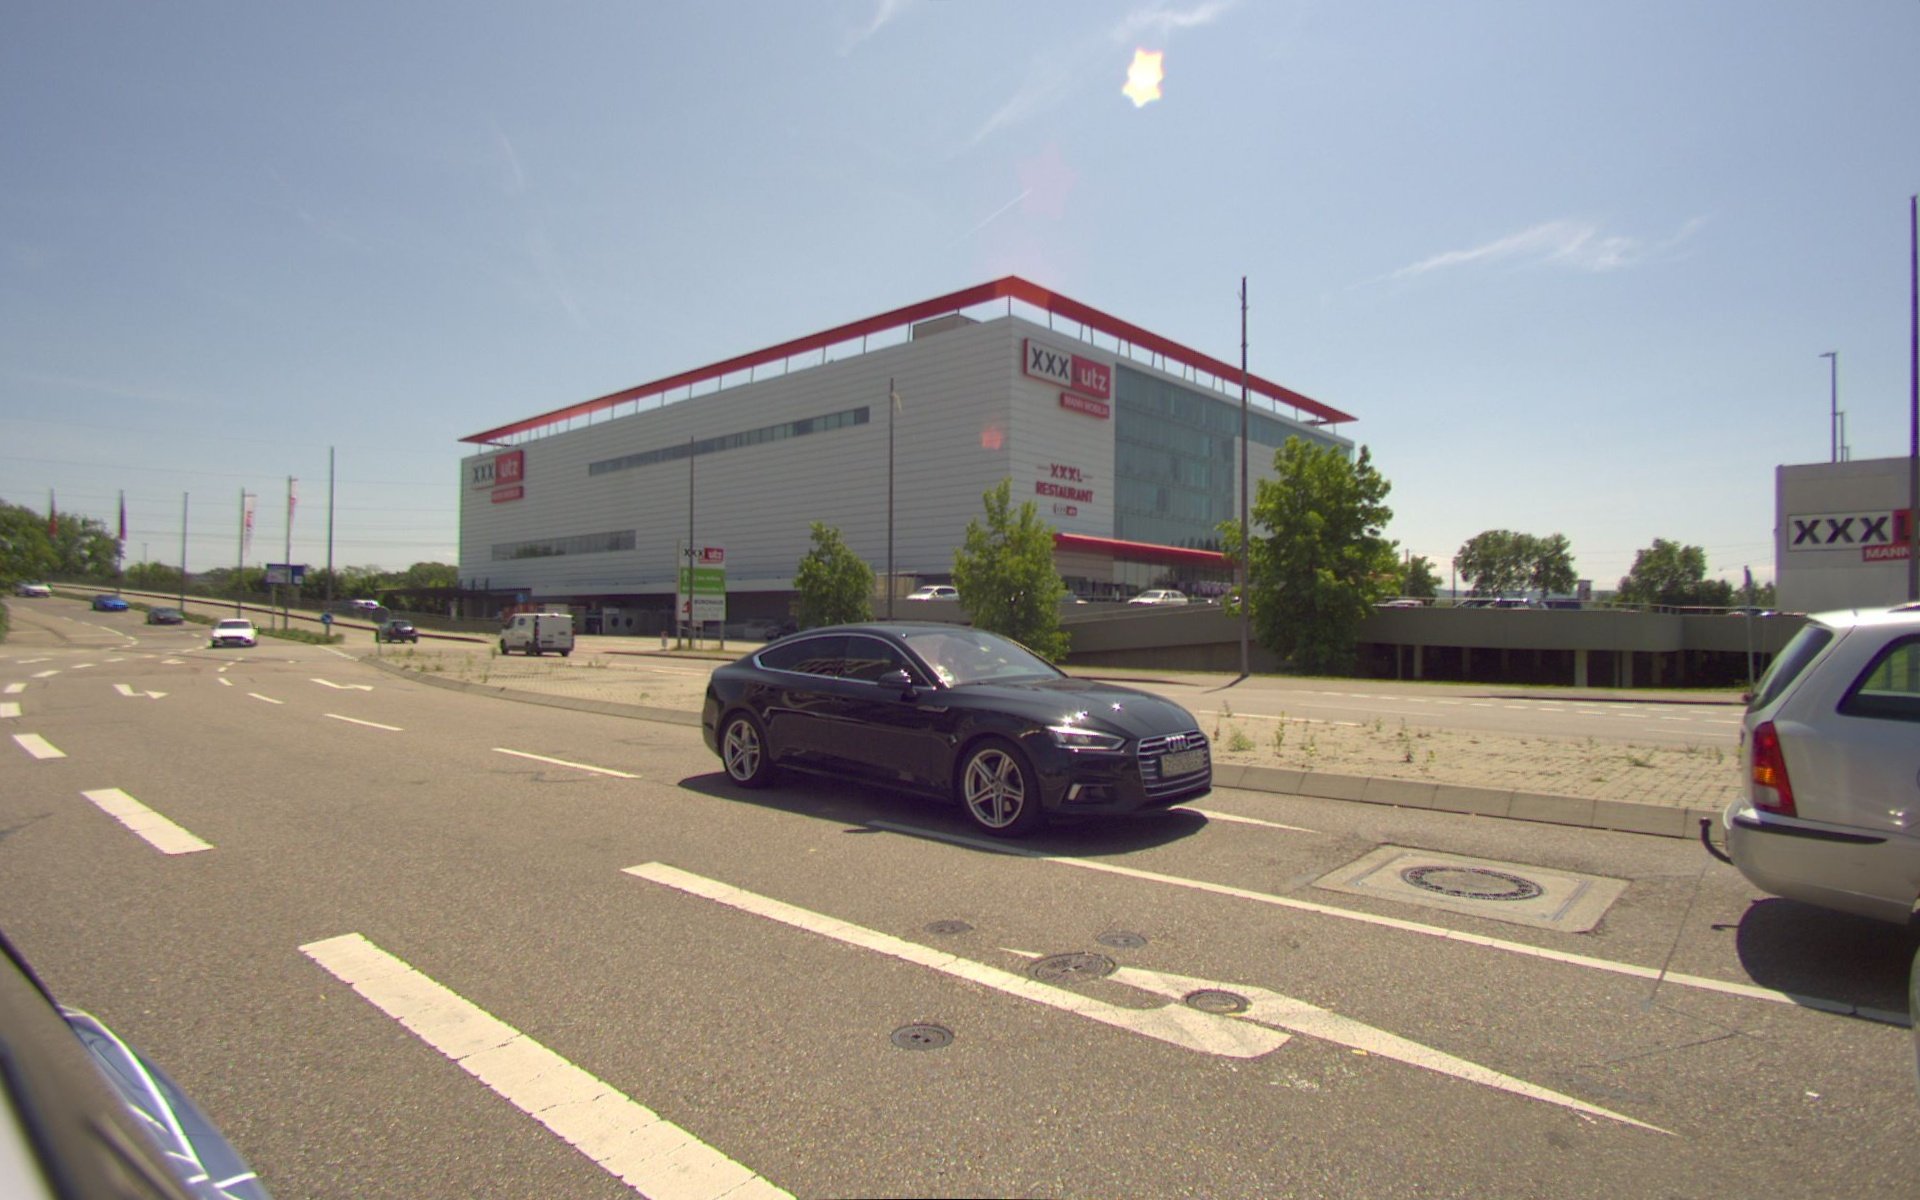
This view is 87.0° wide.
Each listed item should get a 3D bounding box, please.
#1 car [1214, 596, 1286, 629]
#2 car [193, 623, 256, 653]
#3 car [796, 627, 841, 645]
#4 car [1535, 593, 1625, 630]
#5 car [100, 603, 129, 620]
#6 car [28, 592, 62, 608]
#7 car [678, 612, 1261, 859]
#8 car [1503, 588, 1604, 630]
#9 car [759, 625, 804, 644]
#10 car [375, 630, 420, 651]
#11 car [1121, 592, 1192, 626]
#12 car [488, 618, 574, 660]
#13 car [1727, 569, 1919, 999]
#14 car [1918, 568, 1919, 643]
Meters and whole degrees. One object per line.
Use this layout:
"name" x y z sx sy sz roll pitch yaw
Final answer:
"car" 18.575 0.802 64.851 3.999 2.029 1.972 0 -2 42
"car" -38.449 1.971 52.861 4.227 1.461 1.713 -1 -2 40
"car" -12.419 3.189 89.079 1.959 1.507 3.437 -1 -2 42
"car" 33.625 0.650 54.927 3.995 1.923 1.974 -1 -2 39
"car" -79.757 1.083 95.420 1.776 1.424 4.410 -1 3 -44
"car" -95.094 0.028 105.163 4.045 1.587 1.661 -1 -2 34
"car" -0.171 0.835 7.903 4.531 1.401 1.730 -2 -2 41
"car" 29.000 0.457 49.494 3.998 1.946 1.973 -1 -2 41
"car" -16.178 3.130 91.932 1.911 1.632 3.698 0 -2 40
"car" -35.200 2.521 63.291 1.832 1.312 3.901 3 -3 -38
"car" 10.986 0.549 56.391 2.000 1.781 4.141 -1 -2 43
"car" -19.946 1.794 46.940 4.841 1.864 1.810 -1 -4 43
"car" 5.131 0.630 3.375 3.991 1.505 1.782 -1 -1 35
"car" 3.852 0.607 0.600 4.619 1.477 1.782 -1 -1 40
